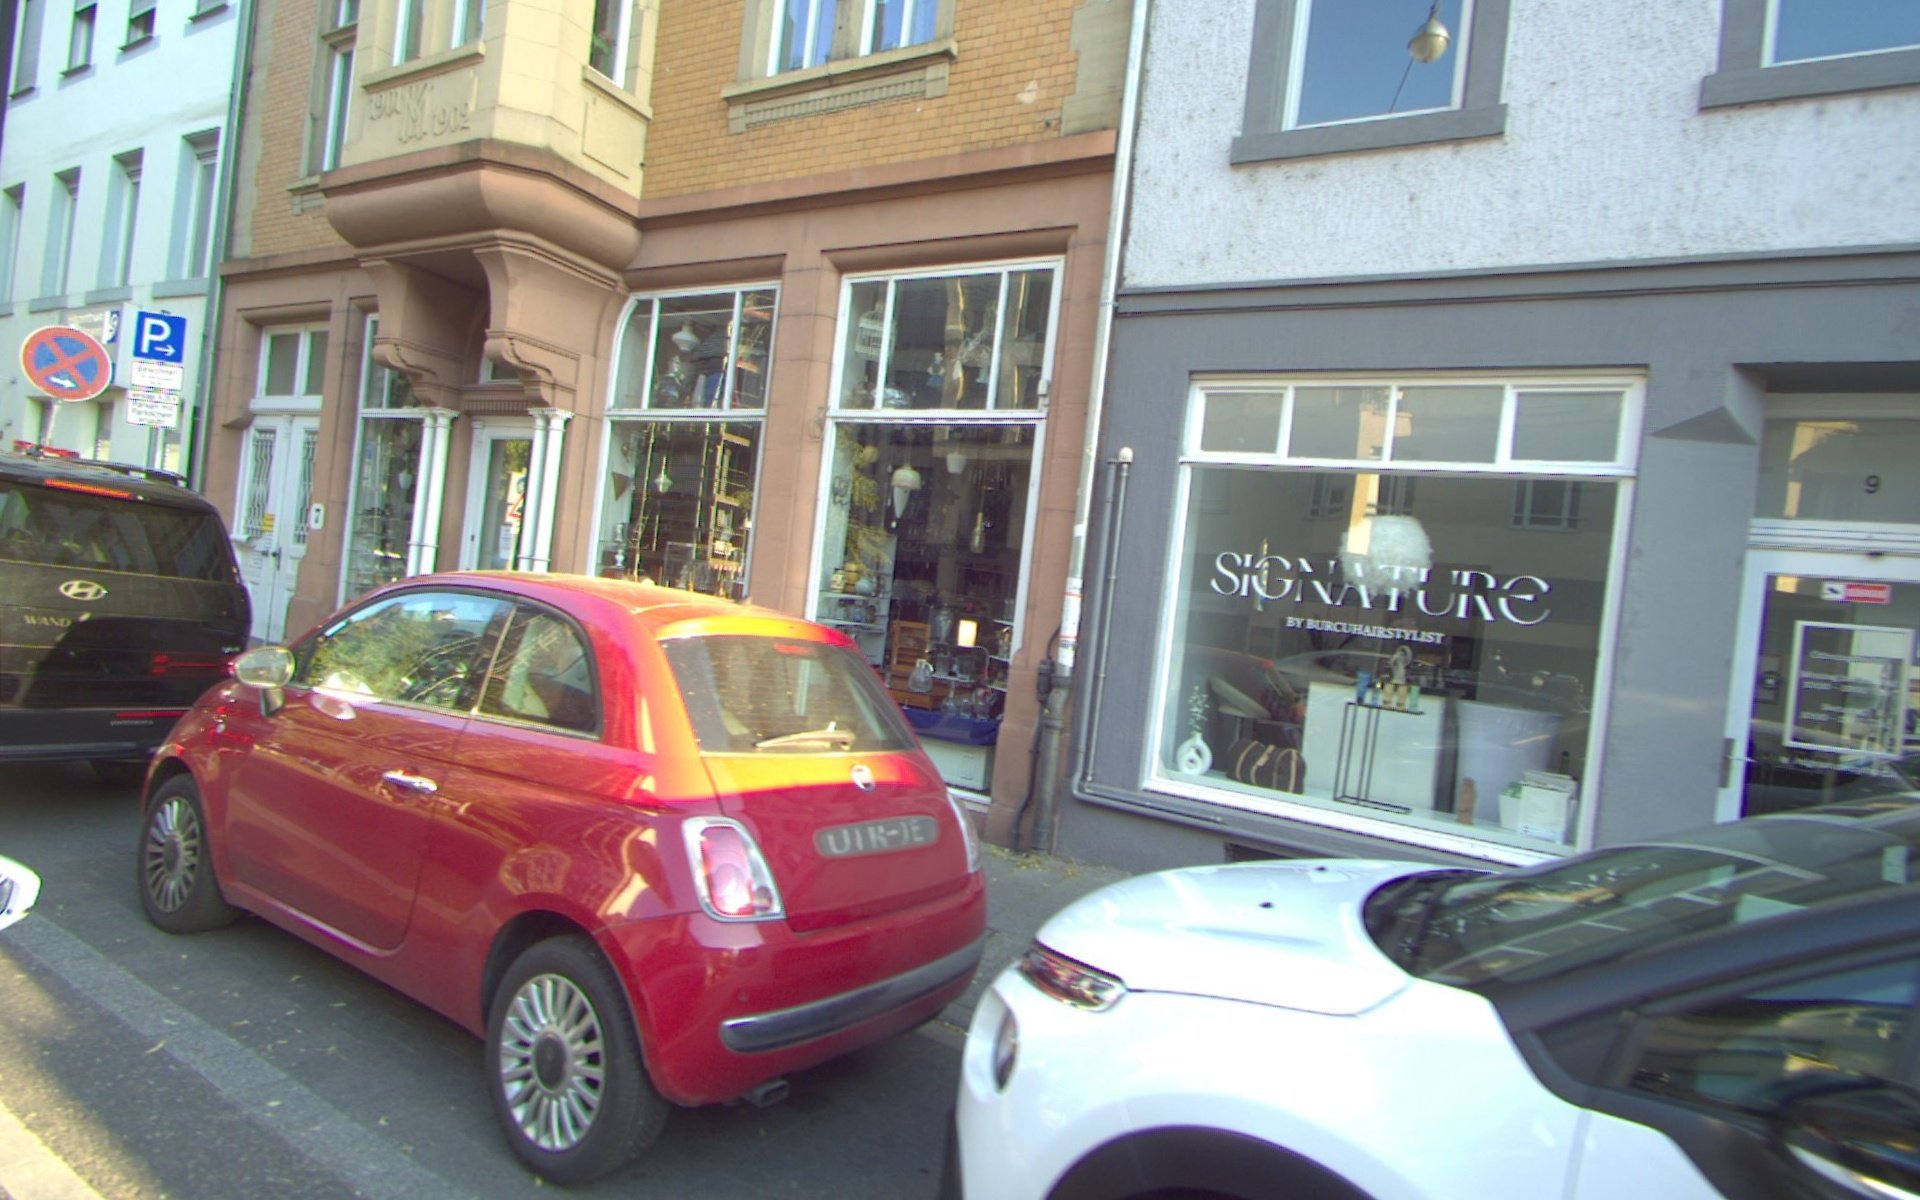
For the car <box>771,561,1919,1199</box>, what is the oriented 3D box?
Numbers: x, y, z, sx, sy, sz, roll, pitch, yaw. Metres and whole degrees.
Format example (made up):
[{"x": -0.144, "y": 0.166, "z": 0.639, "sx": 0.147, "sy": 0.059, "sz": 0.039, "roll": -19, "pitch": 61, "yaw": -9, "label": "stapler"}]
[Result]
[{"x": 1.745, "y": 0.973, "z": 1.676, "sx": 3.869, "sy": 1.591, "sz": 1.665, "roll": 6, "pitch": -2, "yaw": 31, "label": "car"}]

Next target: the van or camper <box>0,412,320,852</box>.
[{"x": -5.824, "y": -0.052, "z": 5.359, "sx": 4.381, "sy": 1.829, "sz": 1.895, "roll": 6, "pitch": -1, "yaw": 25, "label": "van or camper"}]

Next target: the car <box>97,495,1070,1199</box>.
[{"x": -1.521, "y": 0.598, "z": 3.750, "sx": 3.365, "sy": 1.588, "sz": 1.528, "roll": 6, "pitch": -1, "yaw": 32, "label": "car"}]
